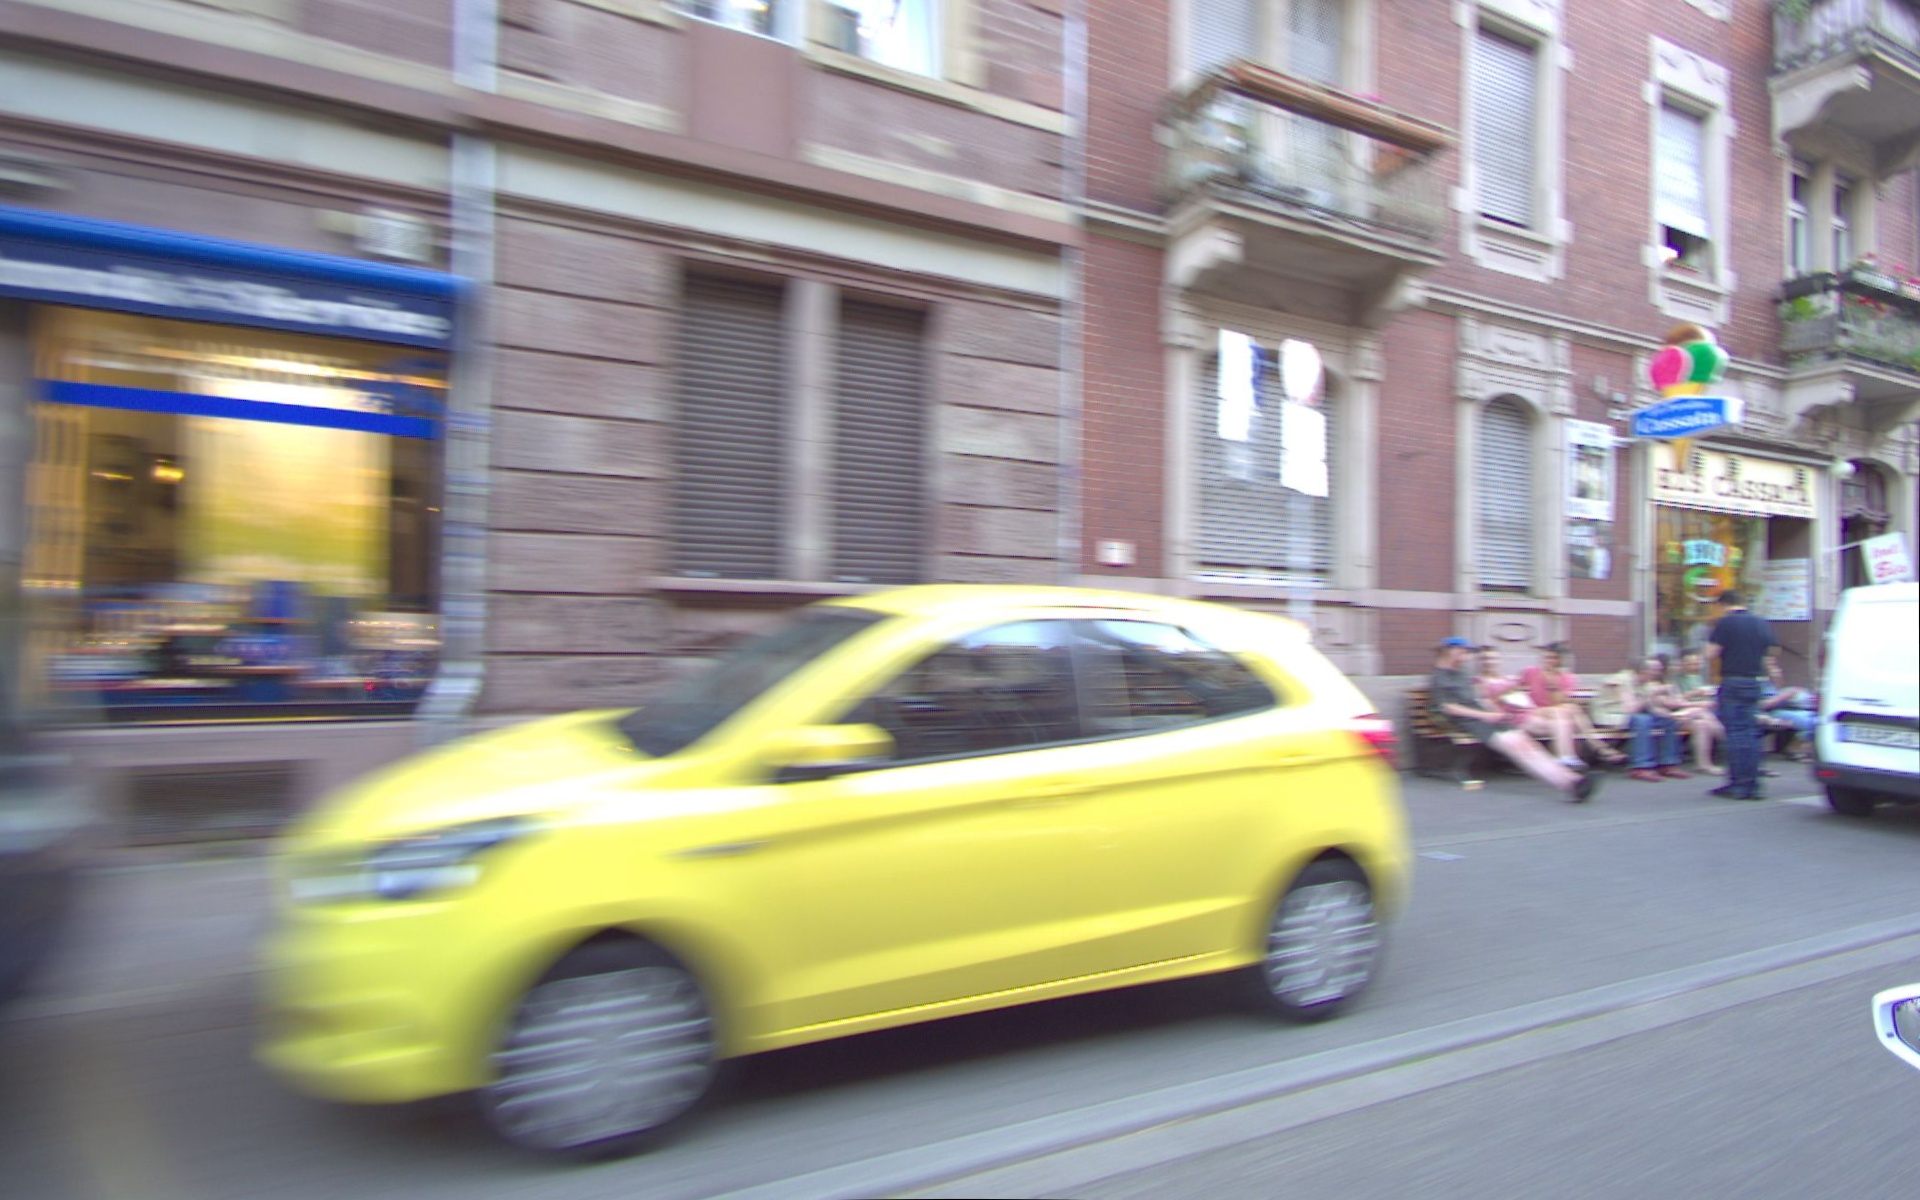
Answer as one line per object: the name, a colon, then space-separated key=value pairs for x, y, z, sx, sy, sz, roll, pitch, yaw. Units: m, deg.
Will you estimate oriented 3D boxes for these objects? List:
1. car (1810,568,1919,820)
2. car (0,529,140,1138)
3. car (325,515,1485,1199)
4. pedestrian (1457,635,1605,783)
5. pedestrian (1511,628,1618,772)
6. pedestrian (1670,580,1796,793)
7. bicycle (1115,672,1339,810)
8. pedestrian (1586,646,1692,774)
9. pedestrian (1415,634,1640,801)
car: x=9.014 y=0.755 z=8.068 sx=4.530 sy=1.812 sz=1.763 roll=2 pitch=-1 yaw=-28
car: x=-4.317 y=0.578 z=1.855 sx=3.915 sy=1.617 sz=1.922 roll=1 pitch=-1 yaw=-24
car: x=-0.052 y=0.635 z=3.821 sx=3.740 sy=1.550 sz=1.701 roll=1 pitch=-1 yaw=-24
pedestrian: x=5.146 y=0.949 z=9.097 sx=0.497 sy=1.219 sz=1.035 roll=2 pitch=0 yaw=-27
pedestrian: x=5.630 y=0.910 z=9.372 sx=0.578 sy=1.268 sz=0.616 roll=2 pitch=0 yaw=-27
pedestrian: x=6.666 y=0.720 z=8.687 sx=0.573 sy=1.753 sz=0.621 roll=2 pitch=0 yaw=3
bicycle: x=2.110 y=1.050 z=7.804 sx=1.971 sy=0.958 sz=0.355 roll=2 pitch=0 yaw=-29
pedestrian: x=6.535 y=1.036 z=9.674 sx=0.566 sy=1.155 sz=0.629 roll=2 pitch=0 yaw=-27
pedestrian: x=4.771 y=0.935 z=8.550 sx=0.633 sy=1.219 sz=1.556 roll=2 pitch=0 yaw=-27
